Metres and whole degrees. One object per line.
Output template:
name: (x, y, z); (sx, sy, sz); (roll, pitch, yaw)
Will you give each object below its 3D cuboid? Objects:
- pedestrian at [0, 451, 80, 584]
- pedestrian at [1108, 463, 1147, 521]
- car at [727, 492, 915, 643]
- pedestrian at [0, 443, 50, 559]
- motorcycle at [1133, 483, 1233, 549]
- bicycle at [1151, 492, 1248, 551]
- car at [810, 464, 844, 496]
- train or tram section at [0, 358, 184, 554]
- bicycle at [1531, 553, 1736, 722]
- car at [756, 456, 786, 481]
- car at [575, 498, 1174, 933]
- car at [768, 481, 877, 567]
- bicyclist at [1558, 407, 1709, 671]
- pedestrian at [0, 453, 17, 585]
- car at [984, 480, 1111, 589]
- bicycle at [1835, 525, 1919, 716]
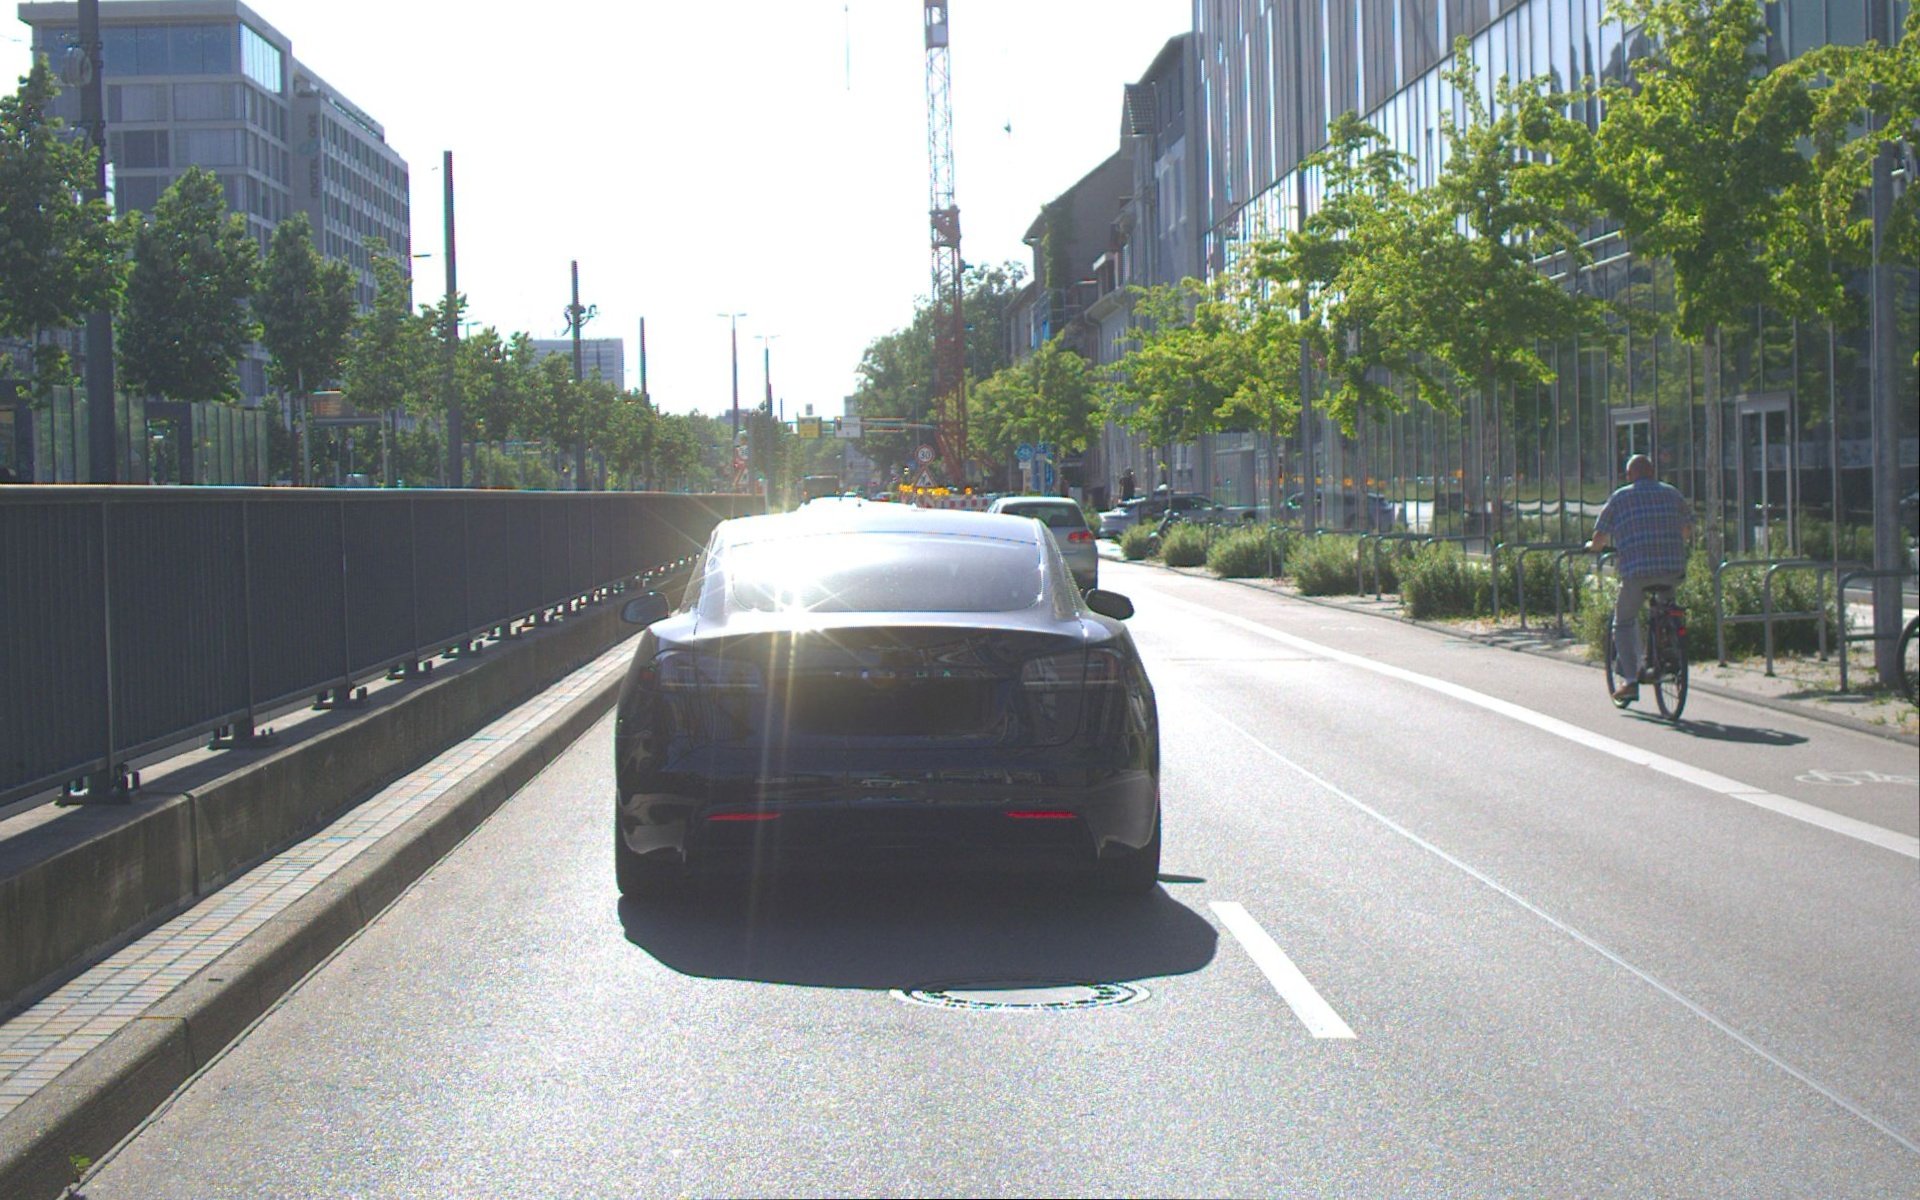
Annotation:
pedestrian: (-11.405, -1.029, 42.625); (0.741, 1.622, 0.861); (-1, 2, 0)
pedestrian: (5.500, -3.561, 113.022); (1.095, 1.857, 1.523); (-2, 2, -3)
car: (-1.304, -0.360, 33.606); (1.716, 1.315, 4.001); (-1, 2, -1)
pedestrian: (-13.499, -1.414, 49.078); (0.741, 1.622, 0.861); (-1, 2, 0)
motorcycle: (5.016, -1.895, 77.405); (2.075, 1.349, 0.652); (-3, 1, 22)
bicycle: (5.072, -1.664, 72.769); (1.881, 1.147, 0.672); (-3, 2, -11)
car: (-7.647, -6.904, 197.770); (1.814, 1.803, 4.039); (-1, 2, 0)
train or tram section: (-17.539, -2.577, 61.621); (2.870, 3.268, 22.147); (1, 2, -2)
bicycle: (4.560, 0.226, 23.432); (0.728, 0.980, 2.334); (-2, 3, -5)
car: (-13.051, -9.045, 237.223); (1.993, 1.678, 4.001); (0, 2, -3)
car: (-0.252, 0.323, 13.721); (1.999, 1.429, 4.413); (0, 2, 1)
car: (-2.697, -1.535, 68.189); (1.888, 1.590, 4.000); (-1, 2, 1)
bicyclist: (4.551, -0.421, 23.276); (0.724, 1.730, 0.998); (-2, 2, -5)
pedestrian: (-12.185, -1.004, 42.586); (0.741, 1.622, 0.861); (-1, 2, 0)
car: (1.298, -1.025, 52.203); (1.784, 1.540, 4.039); (-1, 2, 0)
bicycle: (6.896, 0.093, 22.541); (2.086, 1.201, 0.950); (-2, 2, 5)
